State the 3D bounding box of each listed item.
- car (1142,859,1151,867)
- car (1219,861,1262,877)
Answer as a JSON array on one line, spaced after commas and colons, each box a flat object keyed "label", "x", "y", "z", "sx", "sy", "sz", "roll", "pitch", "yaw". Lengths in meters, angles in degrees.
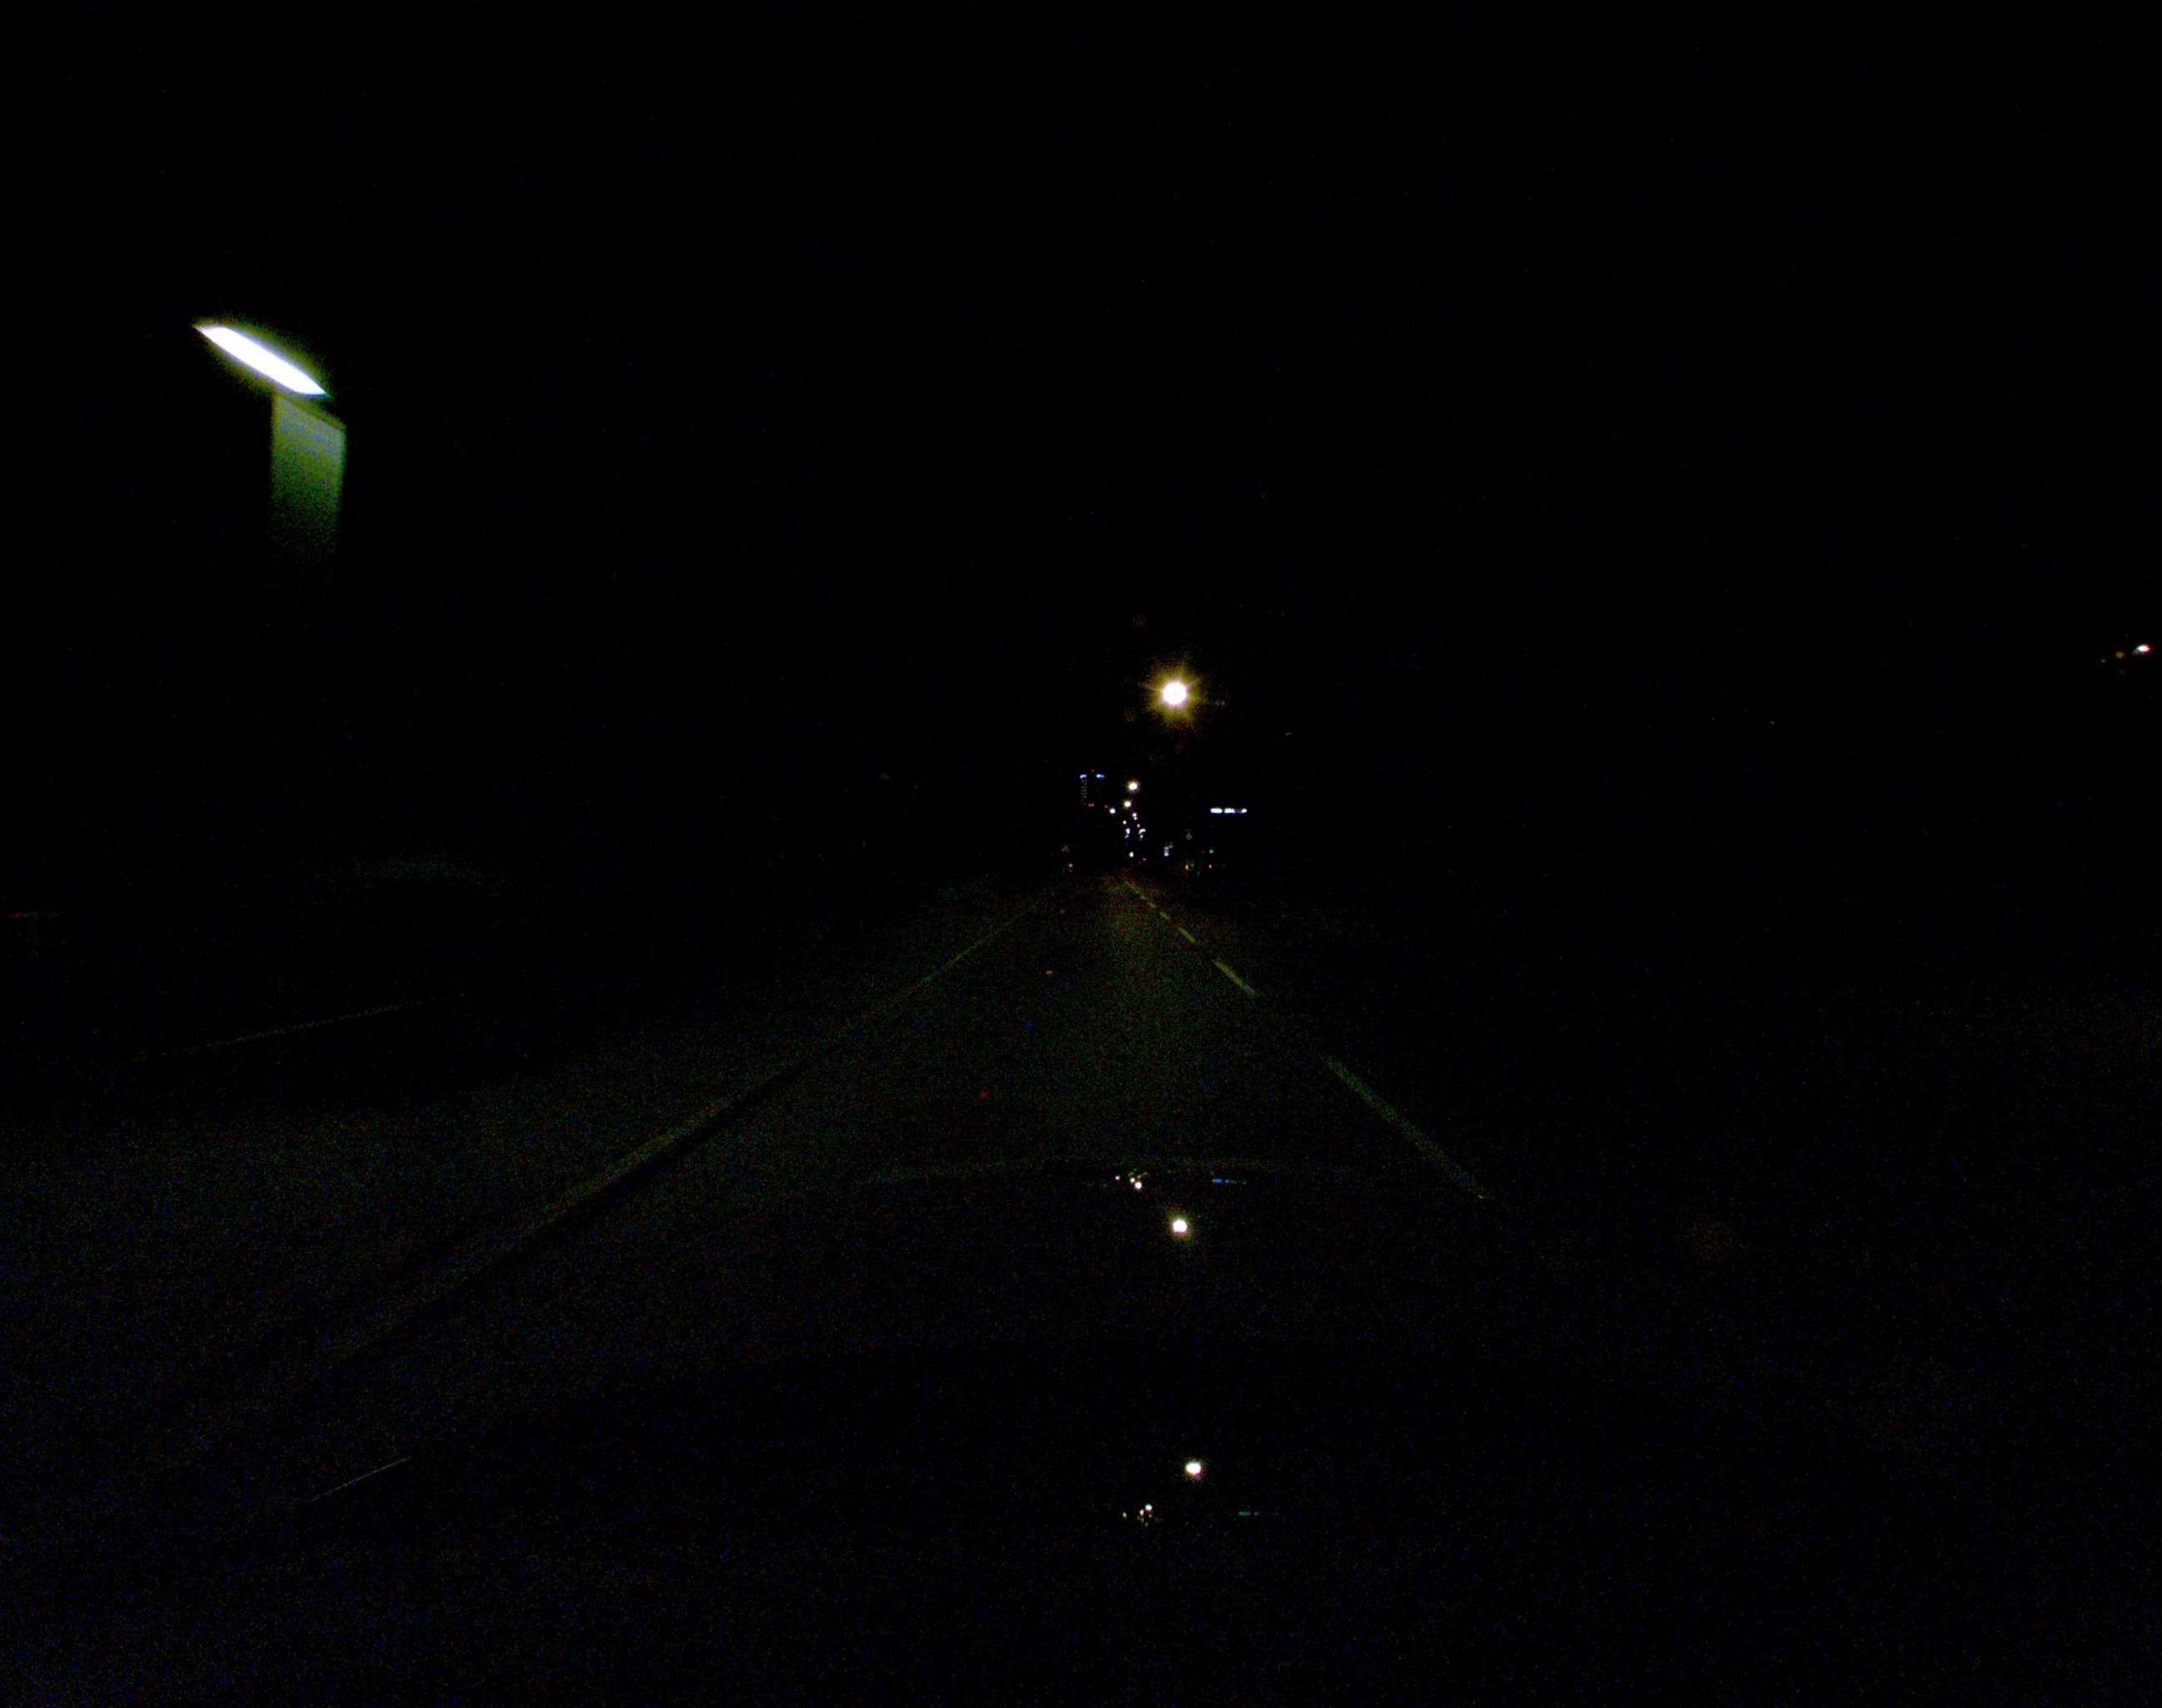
[{"label": "car", "x": 15.868, "y": 2.183, "z": 198.199, "sx": 1.917, "sy": 1.854, "sz": 4.001, "roll": 0, "pitch": -2, "yaw": 2}, {"label": "car", "x": 15.504, "y": 1.470, "z": 79.346, "sx": 3.827, "sy": 1.544, "sz": 1.808, "roll": 0, "pitch": -1, "yaw": -2}]
